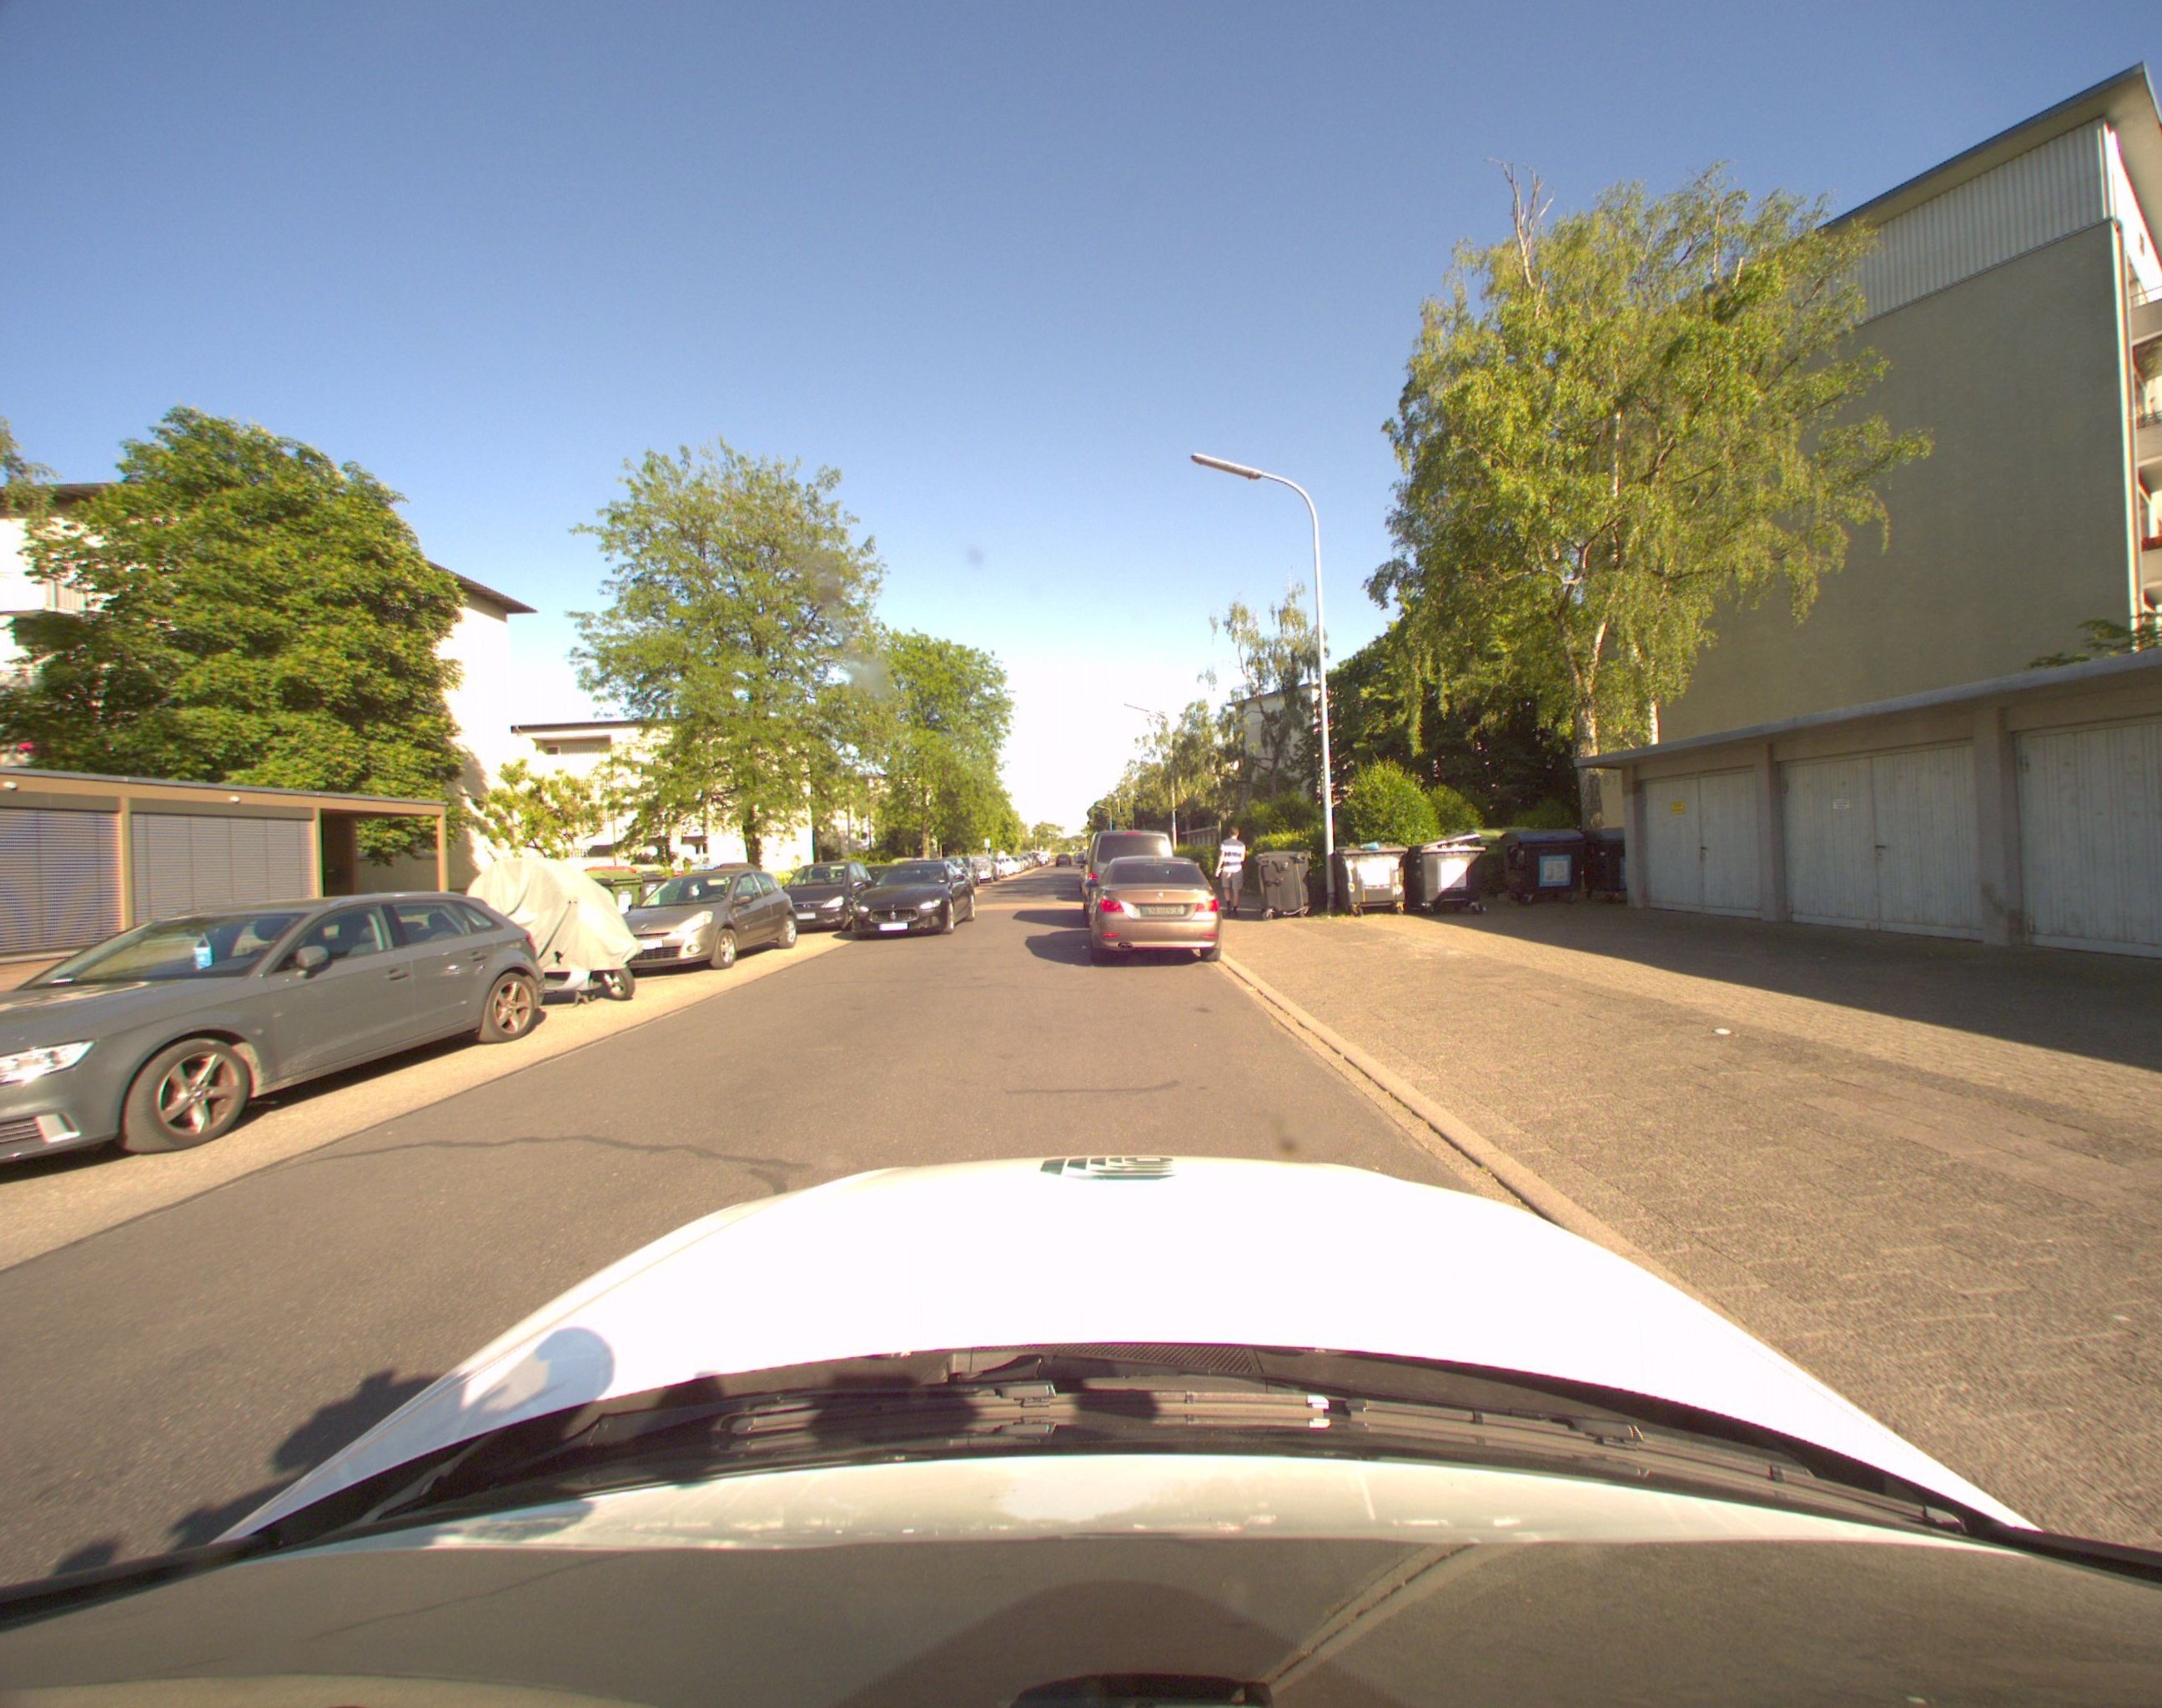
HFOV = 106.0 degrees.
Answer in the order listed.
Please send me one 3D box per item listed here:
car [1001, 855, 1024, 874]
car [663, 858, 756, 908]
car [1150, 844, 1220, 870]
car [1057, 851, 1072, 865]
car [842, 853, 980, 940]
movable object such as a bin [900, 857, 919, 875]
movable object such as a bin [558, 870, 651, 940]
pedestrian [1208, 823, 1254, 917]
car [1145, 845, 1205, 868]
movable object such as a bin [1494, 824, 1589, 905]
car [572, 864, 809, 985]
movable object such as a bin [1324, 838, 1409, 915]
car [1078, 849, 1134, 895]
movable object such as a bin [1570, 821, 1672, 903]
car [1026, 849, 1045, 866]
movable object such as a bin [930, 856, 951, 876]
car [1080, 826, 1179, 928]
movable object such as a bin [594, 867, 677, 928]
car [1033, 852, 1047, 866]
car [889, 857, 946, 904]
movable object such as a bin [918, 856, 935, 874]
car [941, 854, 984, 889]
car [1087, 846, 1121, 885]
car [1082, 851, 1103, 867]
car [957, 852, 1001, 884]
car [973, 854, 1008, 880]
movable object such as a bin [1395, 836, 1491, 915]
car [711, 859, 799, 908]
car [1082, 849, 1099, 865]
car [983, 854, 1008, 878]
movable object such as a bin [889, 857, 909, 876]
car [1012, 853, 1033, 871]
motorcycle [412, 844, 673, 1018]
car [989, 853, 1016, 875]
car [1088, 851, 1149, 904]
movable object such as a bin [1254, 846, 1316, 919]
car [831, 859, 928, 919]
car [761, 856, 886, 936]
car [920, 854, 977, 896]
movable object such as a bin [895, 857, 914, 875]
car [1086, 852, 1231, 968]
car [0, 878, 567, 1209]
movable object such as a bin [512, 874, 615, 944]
[{"bbox_3d":[-5.834,0.848,69.362,1.682,1.505,3.815,-3,0,-2],"label":"car"},{"bbox_3d":[-13.296,0.978,29.390,1.566,1.641,3.997,-1,0,-2],"label":"car"},{"bbox_3d":[6.992,0.185,55.194,4.498,1.513,1.829,-3,0,1],"label":"car"},{"bbox_3d":[-1.899,0.427,94.438,1.675,1.513,4.100,-1,0,-2],"label":"car"},{"bbox_3d":[-3.395,0.771,17.216,1.905,1.476,4.569,-3,0,0],"label":"car"},{"bbox_3d":[-13.938,0.953,66.182,1.173,1.420,1.463,0,0,2],"label":"movable object such as a bin"},{"bbox_3d":[-10.369,1.084,17.781,1.173,1.408,1.343,-2,0,0],"label":"movable object such as a bin"},{"bbox_3d":[3.162,0.335,17.235,0.701,1.888,0.872,-4,0,1],"label":"pedestrian"},{"bbox_3d":[7.254,0.198,63.403,4.401,1.513,1.829,-3,0,0],"label":"car"},{"bbox_3d":[9.087,0.176,16.130,1.271,1.465,1.134,-2,4,3],"label":"movable object such as a bin"},{"bbox_3d":[-6.082,0.999,13.281,1.748,1.480,3.960,-4,0,1],"label":"car"},{"bbox_3d":[5.425,0.415,15.543,1.218,1.365,1.134,-2,0,3],"label":"movable object such as a bin"},{"bbox_3d":[0.857,0.624,30.714,1.727,1.489,4.497,-3,0,-2],"label":"car"},{"bbox_3d":[10.455,0.132,15.823,1.271,1.465,1.134,-2,4,3],"label":"movable object such as a bin"},{"bbox_3d":[-5.676,0.450,101.445,1.908,1.962,5.087,-3,0,0],"label":"car"},{"bbox_3d":[-9.514,0.802,55.184,1.132,1.382,1.442,0,0,1],"label":"movable object such as a bin"},{"bbox_3d":[0.941,0.440,18.105,1.847,1.934,4.703,-1,0,-1],"label":"car"},{"bbox_3d":[-10.479,1.001,19.216,1.173,1.340,1.343,-2,0,1],"label":"movable object such as a bin"},{"bbox_3d":[-5.573,0.647,109.775,1.742,1.669,4.373,-3,0,-3],"label":"car"},{"bbox_3d":[-6.099,0.954,30.653,1.440,1.574,3.140,-4,0,-1],"label":"car"},{"bbox_3d":[-12.650,0.922,66.776,1.130,1.420,1.361,0,0,1],"label":"movable object such as a bin"},{"bbox_3d":[-5.985,0.835,41.474,1.631,1.606,3.533,-3,0,-1],"label":"car"},{"bbox_3d":[1.032,0.518,37.779,1.484,1.718,2.582,-1,0,-1],"label":"car"},{"bbox_3d":[1.053,0.460,76.163,1.749,1.513,4.100,-1,0,-2],"label":"car"},{"bbox_3d":[-5.778,0.776,46.797,1.897,1.639,4.348,-3,0,0],"label":"car"},{"bbox_3d":[-5.766,0.809,52.488,1.657,1.513,3.946,-3,0,1],"label":"car"},{"bbox_3d":[6.709,0.378,15.166,1.271,1.365,1.134,-2,0,3],"label":"movable object such as a bin"},{"bbox_3d":[-11.352,0.989,28.654,1.566,1.525,3.997,-1,0,-2],"label":"car"},{"bbox_3d":[1.047,0.326,92.527,1.902,1.639,4.627,-2,0,0],"label":"car"},{"bbox_3d":[-5.999,0.823,57.181,1.661,1.513,3.530,-3,0,-6],"label":"car"},{"bbox_3d":[-13.997,0.955,62.806,1.173,1.420,1.463,0,0,2],"label":"movable object such as a bin"},{"bbox_3d":[-5.714,0.797,79.811,1.705,1.600,3.983,-5,0,-2],"label":"car"},{"bbox_3d":[-6.184,0.844,9.486,2.251,1.726,0.931,-5,0,-4],"label":"motorcycle"},{"bbox_3d":[-6.108,0.772,63.697,1.681,1.535,3.889,-3,0,-1],"label":"car"},{"bbox_3d":[1.063,0.657,24.987,1.618,1.490,4.034,-1,0,-1],"label":"car"},{"bbox_3d":[4.096,0.545,16.452,1.020,1.310,1.391,-5,0,10],"label":"movable object such as a bin"},{"bbox_3d":[-5.935,0.967,24.543,1.749,1.480,4.535,-4,0,-1],"label":"car"},{"bbox_3d":[-5.960,0.904,19.326,1.749,1.574,3.718,-4,0,-2],"label":"car"},{"bbox_3d":[-5.883,0.886,36.570,1.748,1.606,3.969,-4,0,1],"label":"car"},{"bbox_3d":[-14.005,0.949,64.661,1.173,1.420,1.463,0,0,2],"label":"movable object such as a bin"},{"bbox_3d":[1.041,0.700,12.593,1.794,1.419,4.637,-1,0,1],"label":"car"},{"bbox_3d":[-6.010,1.021,5.902,1.749,1.421,4.268,-4,0,0],"label":"car"},{"bbox_3d":[-10.375,1.080,16.398,1.173,1.288,1.343,-2,0,0],"label":"movable object such as a bin"}]
